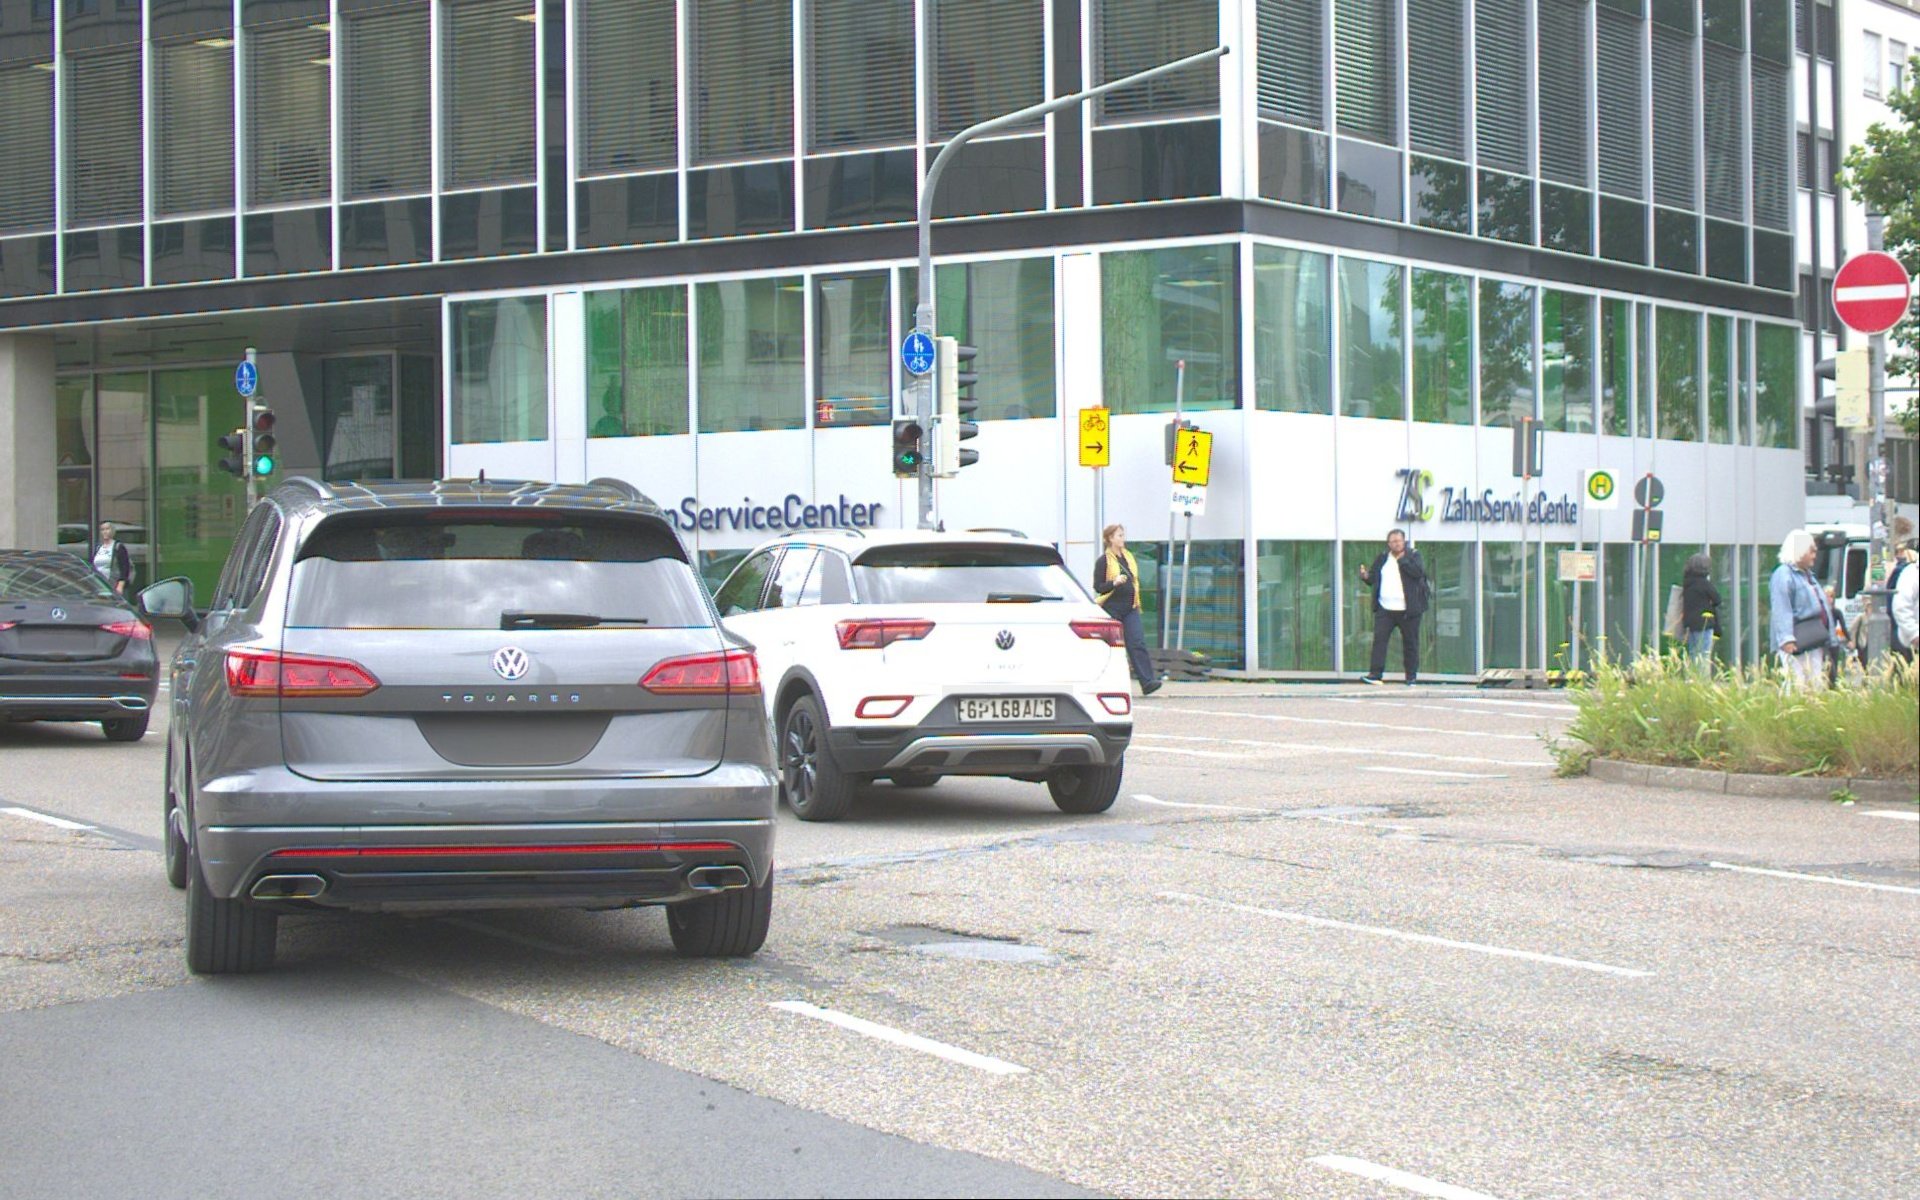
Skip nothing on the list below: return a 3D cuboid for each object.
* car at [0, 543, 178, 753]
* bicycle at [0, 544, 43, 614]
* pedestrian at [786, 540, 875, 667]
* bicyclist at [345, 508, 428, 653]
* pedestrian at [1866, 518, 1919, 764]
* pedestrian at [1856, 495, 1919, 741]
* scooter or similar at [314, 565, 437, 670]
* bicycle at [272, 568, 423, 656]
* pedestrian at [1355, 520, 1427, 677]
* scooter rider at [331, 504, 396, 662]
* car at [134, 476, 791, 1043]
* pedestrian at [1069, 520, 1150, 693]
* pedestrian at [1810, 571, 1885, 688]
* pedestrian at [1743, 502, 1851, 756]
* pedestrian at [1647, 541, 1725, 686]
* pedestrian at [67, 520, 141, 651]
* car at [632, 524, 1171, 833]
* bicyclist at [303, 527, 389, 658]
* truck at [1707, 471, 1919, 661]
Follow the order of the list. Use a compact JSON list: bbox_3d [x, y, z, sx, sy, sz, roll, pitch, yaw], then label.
[{"bbox_3d":[-7.404,0.300,26.078,1.833,1.390,4.148,1,2,-28],"label":"car"},{"bbox_3d":[-14.848,-0.326,52.514,1.483,1.044,0.713,1,1,19],"label":"bicycle"},{"bbox_3d":[-1.504,0.033,39.866,0.838,1.438,0.605,1,2,35],"label":"pedestrian"},{"bbox_3d":[-7.327,-0.260,43.929,0.813,1.839,0.674,1,2,35],"label":"bicyclist"},{"bbox_3d":[6.993,0.291,24.907,0.762,1.755,0.669,1,1,19],"label":"pedestrian"},{"bbox_3d":[7.105,0.129,25.737,0.701,1.809,0.669,1,1,19],"label":"pedestrian"},{"bbox_3d":[-6.756,0.198,39.750,1.319,1.172,0.593,-1,1,-2],"label":"scooter or similar"},{"bbox_3d":[-7.295,0.142,40.981,1.665,1.023,0.581,0,1,11],"label":"bicycle"},{"bbox_3d":[4.823,-0.023,38.470,0.636,1.742,0.590,1,1,23],"label":"pedestrian"},{"bbox_3d":[-6.887,-0.200,39.734,0.641,1.802,0.593,-1,1,-2],"label":"scooter rider"},{"bbox_3d":[-1.896,0.397,12.523,1.969,1.689,4.226,0,2,-11],"label":"car"},{"bbox_3d":[1.477,0.050,34.093,0.546,1.692,0.802,0,1,-18],"label":"pedestrian"},{"bbox_3d":[13.451,0.438,52.078,0.873,1.740,0.846,1,1,31],"label":"pedestrian"},{"bbox_3d":[6.236,0.208,25.605,0.701,1.856,0.669,1,1,19],"label":"pedestrian"},{"bbox_3d":[8.497,0.153,40.243,0.589,1.673,0.637,0,1,-35],"label":"pedestrian"},{"bbox_3d":[-11.303,-0.190,45.410,0.752,1.706,0.525,-1,1,34],"label":"pedestrian"},{"bbox_3d":[-0.450,0.351,19.430,1.797,1.540,3.937,-1,1,-21],"label":"car"},{"bbox_3d":[-7.320,-0.093,40.980,0.844,1.544,0.565,0,1,11],"label":"bicyclist"},{"bbox_3d":[15.827,-0.555,59.055,2.343,3.053,8.181,1,1,39],"label":"truck"}]
